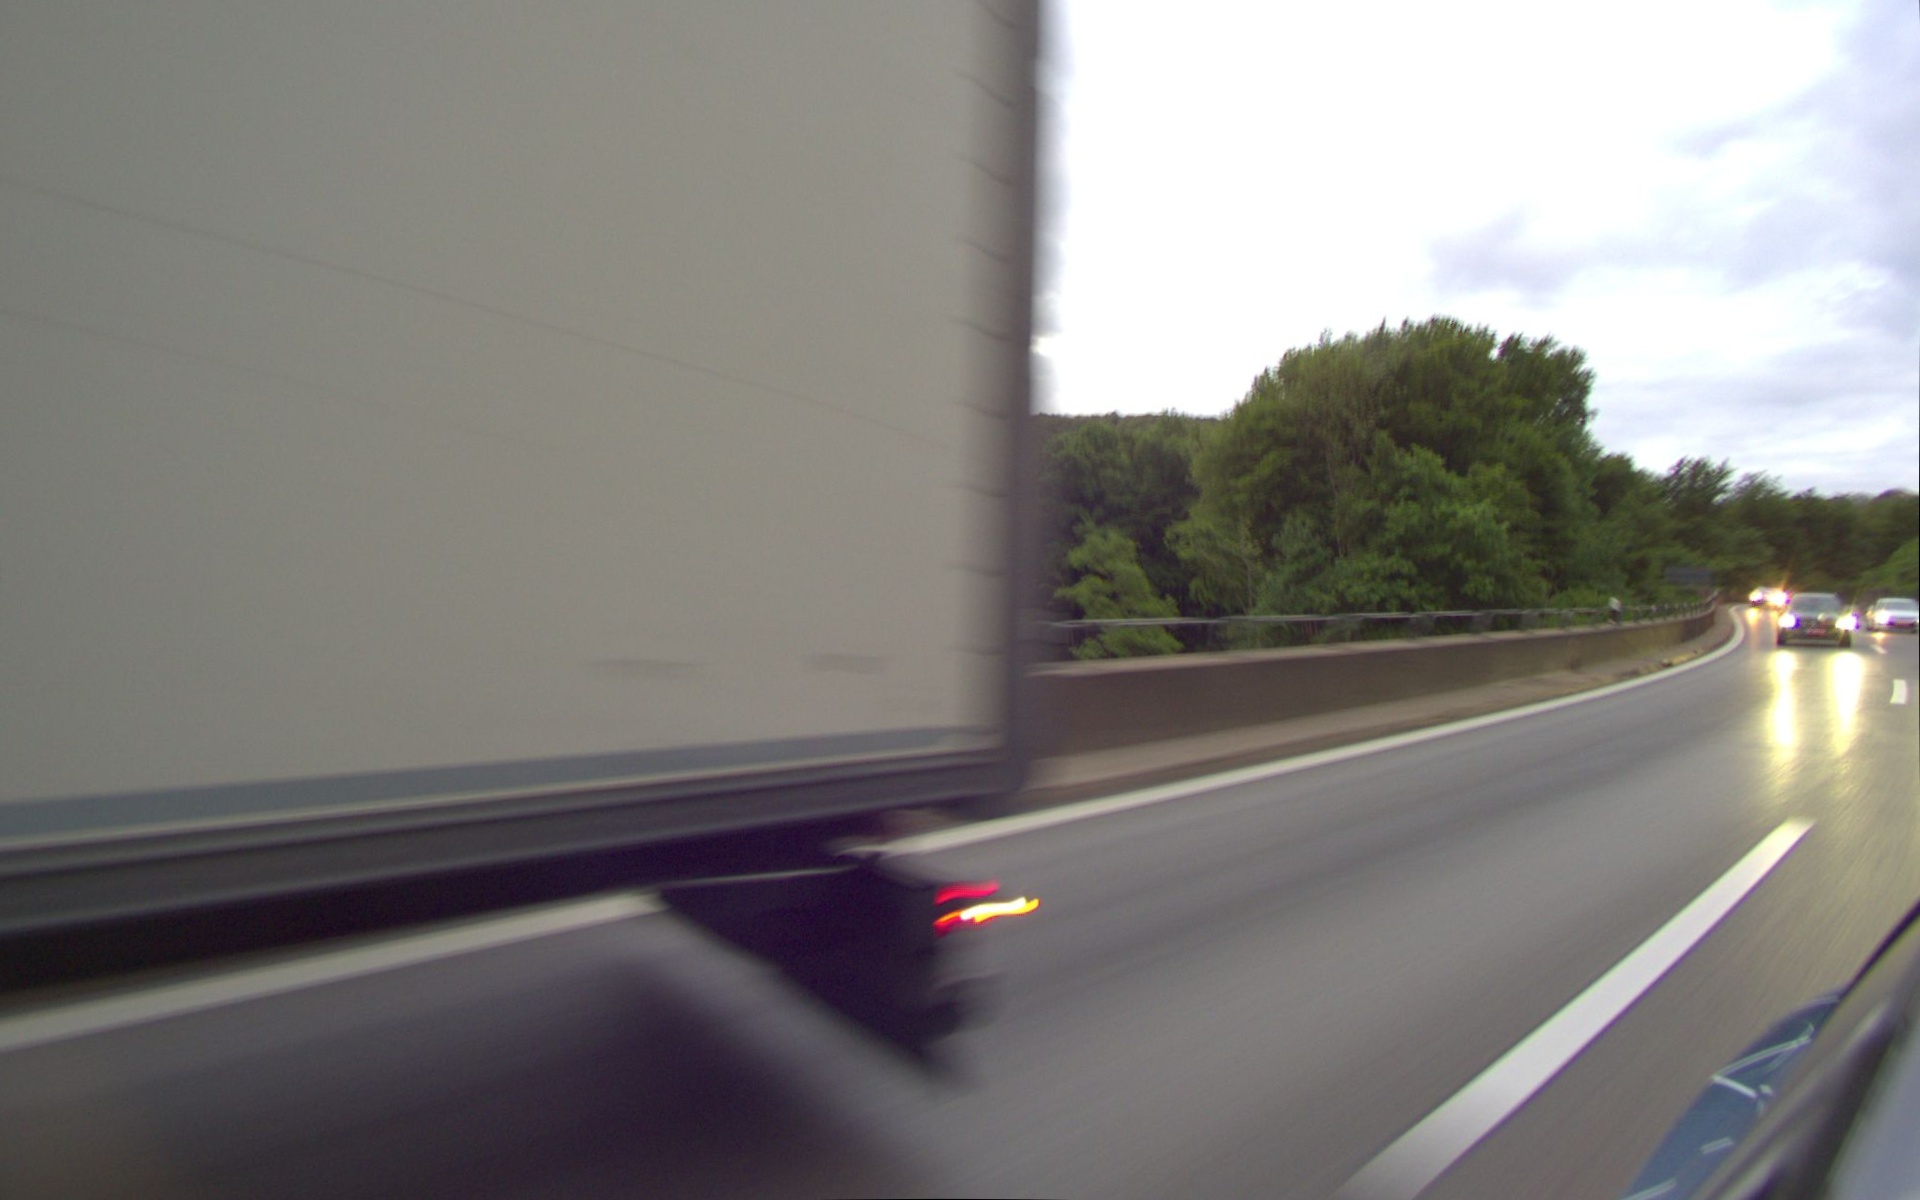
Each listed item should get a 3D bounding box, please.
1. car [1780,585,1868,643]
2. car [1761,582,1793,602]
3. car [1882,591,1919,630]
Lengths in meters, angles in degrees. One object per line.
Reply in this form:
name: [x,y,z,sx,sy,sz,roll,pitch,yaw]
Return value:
car: [27.647,0.384,32.494,1.990,1.660,3.945,1,2,39]
car: [74.183,-0.736,91.891,1.994,1.637,3.940,7,5,41]
car: [41.699,0.466,44.150,1.993,1.526,3.941,5,4,41]
